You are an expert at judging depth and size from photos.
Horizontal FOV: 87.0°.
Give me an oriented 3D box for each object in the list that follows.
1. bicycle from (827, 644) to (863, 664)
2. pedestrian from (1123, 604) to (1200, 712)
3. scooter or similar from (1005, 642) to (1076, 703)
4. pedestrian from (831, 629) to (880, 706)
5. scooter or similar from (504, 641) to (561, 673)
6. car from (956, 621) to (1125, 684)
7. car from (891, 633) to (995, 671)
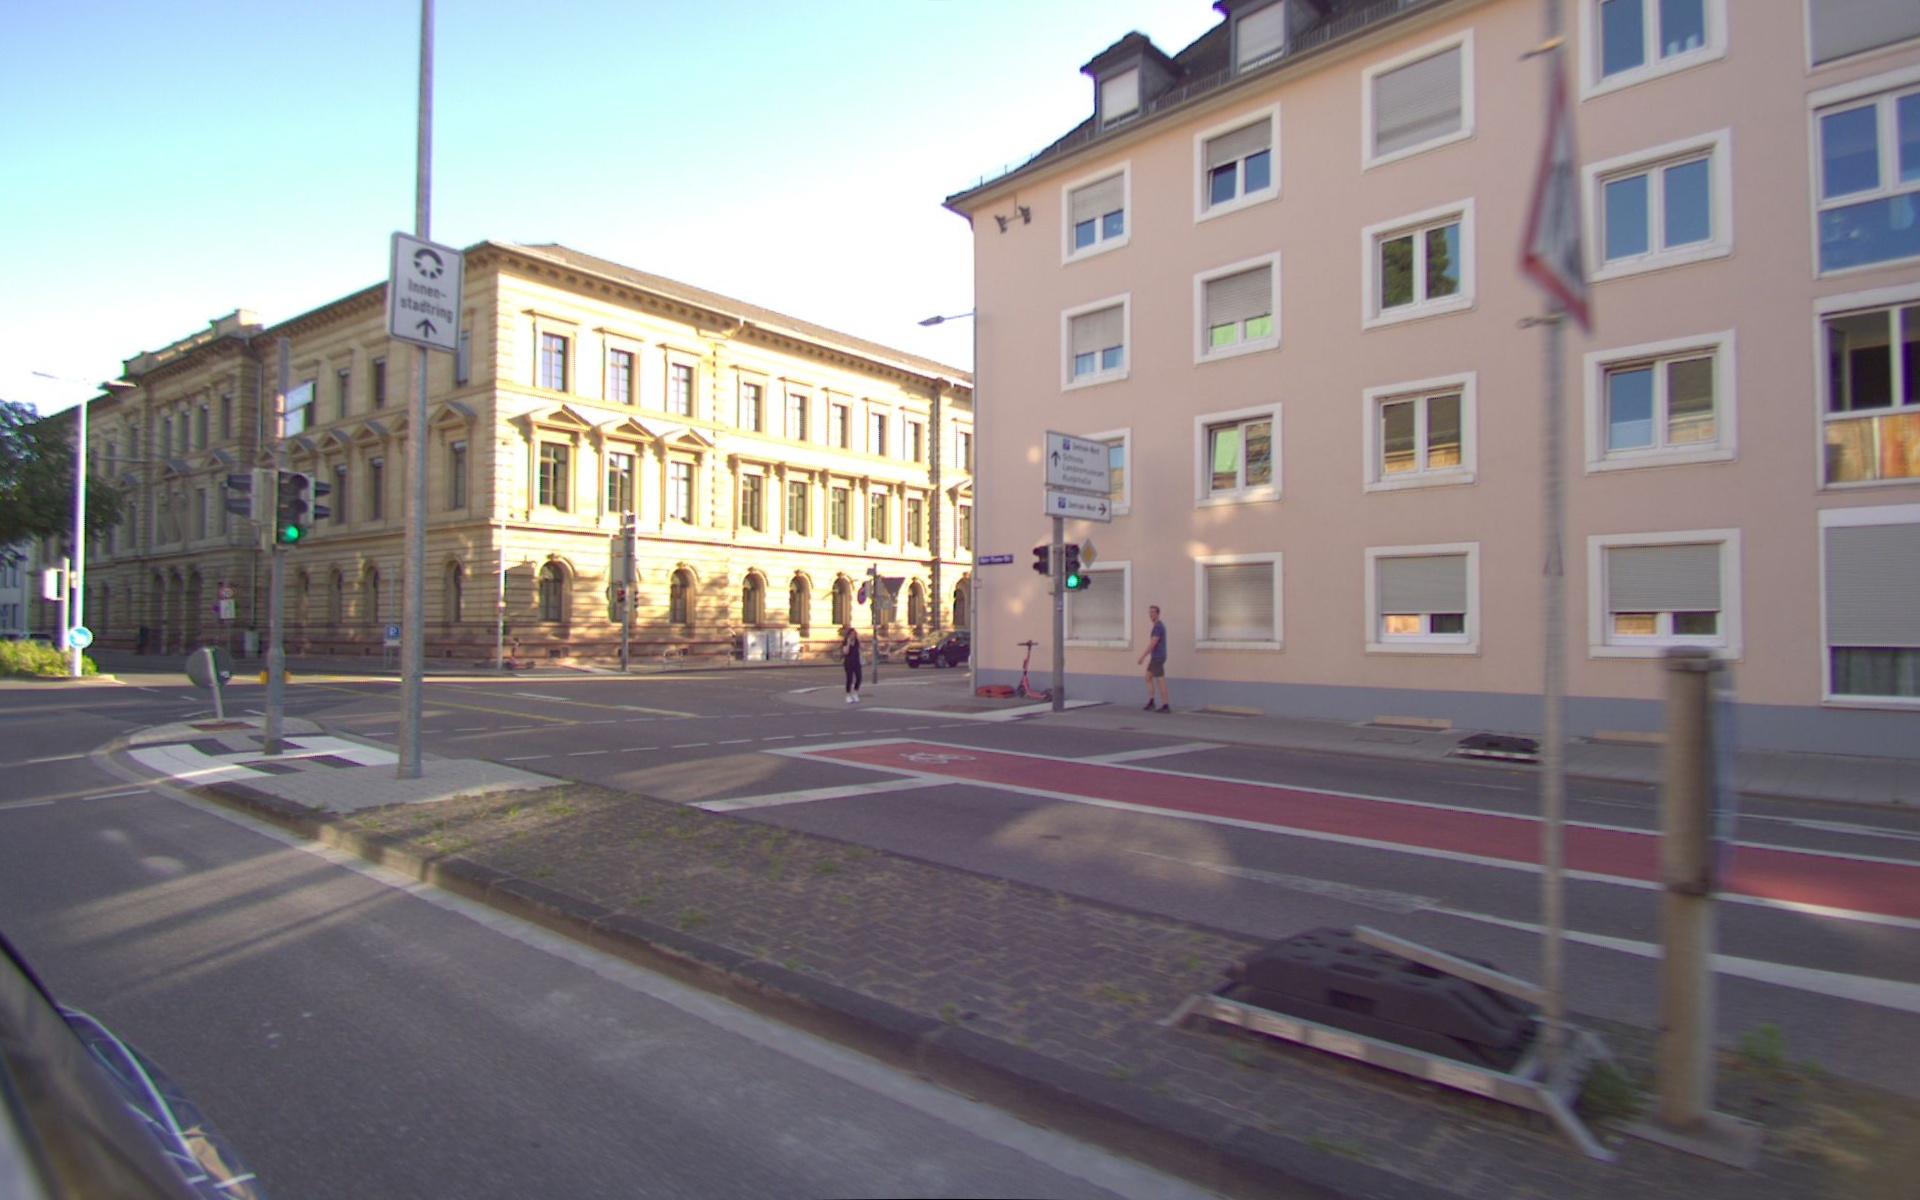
[{"bbox_3d":[-5.679,2.660,50.069,0.575,0.974,1.805,-2,-3,42],"label":"bicycle"},{"bbox_3d":[3.652,1.030,18.381,0.858,1.877,1.015,-1,-1,-45],"label":"pedestrian"},{"bbox_3d":[1.663,1.486,21.029,0.527,1.195,1.475,1,-2,-45],"label":"scooter or similar"},{"bbox_3d":[-2.242,1.437,21.751,0.818,1.595,0.624,-2,0,44],"label":"pedestrian"},{"bbox_3d":[-16.493,2.183,39.028,1.998,1.197,0.457,1,-3,-25],"label":"scooter or similar"},{"bbox_3d":[2.286,1.495,29.496,4.609,1.699,1.974,-2,-3,39],"label":"car"},{"bbox_3d":[-0.703,2.288,44.942,2.000,1.584,4.622,-2,-3,42],"label":"car"}]
